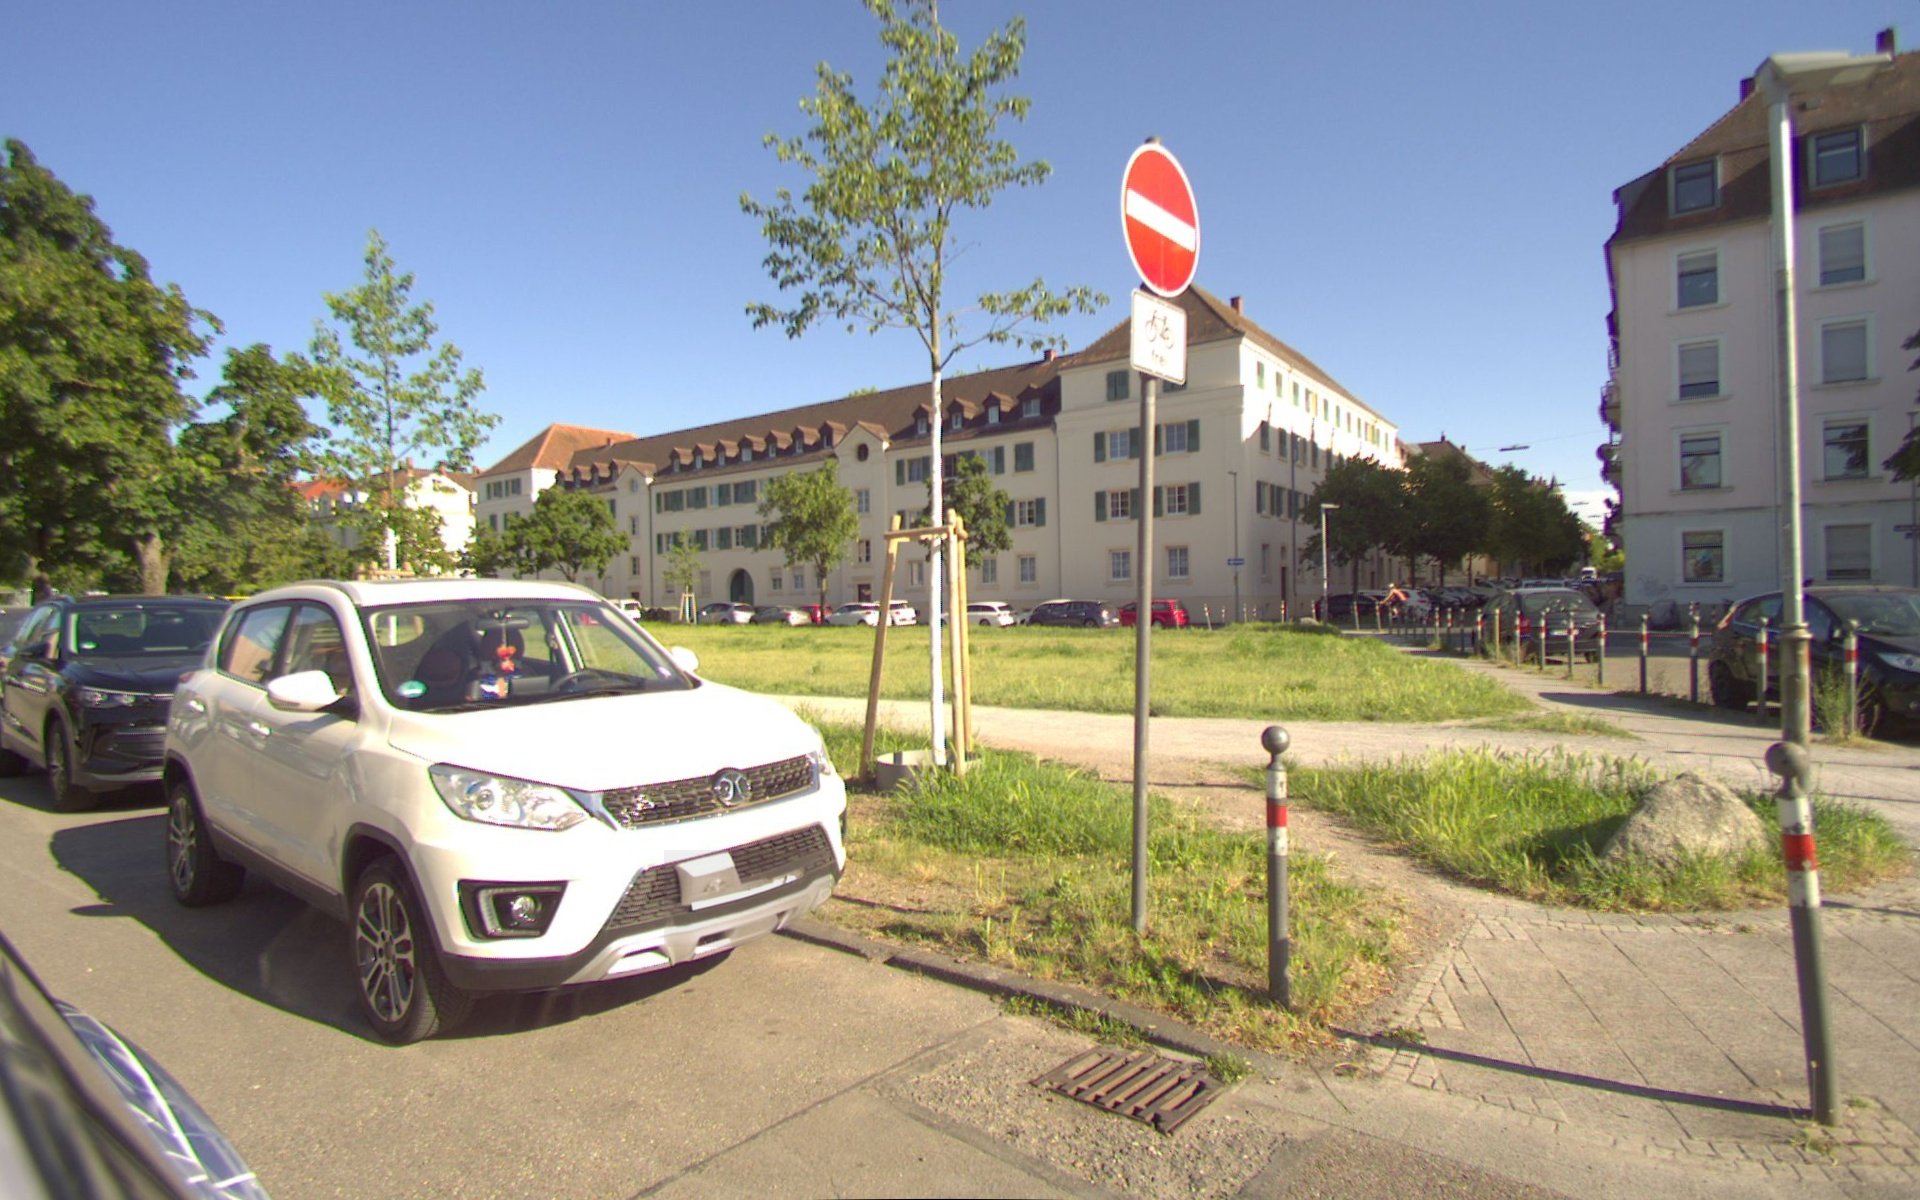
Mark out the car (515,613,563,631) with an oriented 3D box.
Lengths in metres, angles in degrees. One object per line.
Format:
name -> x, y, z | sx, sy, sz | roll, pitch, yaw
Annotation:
car -> -33.531, 1.793, 80.568 | 3.994, 1.366, 1.752 | -1, 0, 38

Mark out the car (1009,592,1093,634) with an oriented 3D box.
car -> 4.536, 0.629, 50.621 | 3.892, 2.029, 1.649 | -1, 0, 38

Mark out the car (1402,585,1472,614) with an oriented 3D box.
car -> 29.094, -0.023, 61.786 | 3.606, 1.653, 1.811 | -1, 0, 35

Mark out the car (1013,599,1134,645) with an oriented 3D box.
car -> 4.833, 0.940, 43.384 | 4.696, 1.834, 2.138 | -1, 0, 37

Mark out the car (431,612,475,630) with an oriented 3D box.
car -> -38.862, 1.630, 77.556 | 3.509, 1.343, 1.635 | -1, 0, 38

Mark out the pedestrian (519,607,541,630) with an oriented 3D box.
pedestrian -> -36.419, 1.565, 85.729 | 1.160, 1.978, 1.329 | -1, 0, 33

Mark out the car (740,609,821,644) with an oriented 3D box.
car -> -9.775, 1.436, 55.031 | 4.005, 1.763, 2.294 | -1, 0, 40

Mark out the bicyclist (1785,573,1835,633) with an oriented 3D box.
bicyclist -> 24.466, 0.088, 29.141 | 0.871, 1.703, 0.628 | -1, -1, 17

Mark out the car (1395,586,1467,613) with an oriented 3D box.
car -> 27.684, -0.034, 59.491 | 3.606, 1.532, 1.839 | -1, 0, 35

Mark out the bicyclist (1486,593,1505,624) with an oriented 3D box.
bicyclist -> 24.295, 0.385, 45.917 | 0.622, 1.374, 0.867 | -1, 0, 36

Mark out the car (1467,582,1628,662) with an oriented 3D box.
car -> 12.909, 0.462, 22.566 | 1.910, 1.588, 4.328 | -1, -1, 14

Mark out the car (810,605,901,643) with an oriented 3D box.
car -> -5.328, 1.222, 51.508 | 4.249, 1.834, 2.216 | -1, 0, 36

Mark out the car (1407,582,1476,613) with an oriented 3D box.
car -> 30.342, -0.160, 63.804 | 3.703, 1.848, 1.934 | -1, 0, 35

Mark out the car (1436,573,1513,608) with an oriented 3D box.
car -> 38.972, -0.695, 76.743 | 4.944, 2.538, 1.934 | -1, 0, 35

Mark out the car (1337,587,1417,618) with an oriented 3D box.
car -> 21.836, 0.125, 52.982 | 3.606, 1.532, 1.689 | -1, 0, 35

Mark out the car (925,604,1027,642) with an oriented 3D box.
car -> 0.809, 1.220, 53.639 | 5.152, 1.900, 2.133 | -1, 0, 38

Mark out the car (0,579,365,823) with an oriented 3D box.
car -> -7.287, 0.739, 9.070 | 4.709, 1.651, 1.825 | -1, -2, 39

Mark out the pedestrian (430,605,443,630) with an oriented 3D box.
pedestrian -> -35.882, 1.194, 69.344 | 0.674, 1.697, 0.537 | -2, -1, 43

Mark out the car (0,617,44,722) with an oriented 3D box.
car -> -16.100, 1.048, 15.820 | 4.463, 1.531, 1.856 | -1, -2, 38

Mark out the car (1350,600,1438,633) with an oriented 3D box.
car -> 21.334, 0.830, 49.806 | 3.661, 1.533, 1.692 | -1, 0, 37

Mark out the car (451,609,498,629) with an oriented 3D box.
car -> -48.802, 1.902, 101.821 | 2.041, 1.970, 3.765 | -1, 0, 40

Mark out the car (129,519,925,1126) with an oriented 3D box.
car -> -2.335, 0.659, 4.834 | 4.283, 1.660, 1.738 | -1, -2, 40

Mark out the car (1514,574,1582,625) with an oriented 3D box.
car -> 24.979, -0.025, 42.902 | 2.135, 2.029, 4.523 | -1, 0, 35

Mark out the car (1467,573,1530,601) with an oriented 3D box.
car -> 49.665, -1.154, 93.440 | 4.944, 2.413, 1.934 | -1, 0, 35

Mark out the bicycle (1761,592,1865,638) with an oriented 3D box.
bicycle -> 24.510, 0.436, 29.127 | 2.136, 1.268, 0.710 | -1, 0, 17

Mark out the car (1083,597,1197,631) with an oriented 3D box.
car -> 8.401, 0.660, 47.493 | 4.951, 1.496, 1.975 | -1, -1, 38

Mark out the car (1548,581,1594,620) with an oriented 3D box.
car -> 33.700, 0.008, 55.719 | 1.994, 1.988, 4.997 | -1, 0, 33

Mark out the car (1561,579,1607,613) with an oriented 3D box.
car -> 38.819, -0.268, 62.929 | 2.149, 1.998, 4.852 | -1, 0, 35

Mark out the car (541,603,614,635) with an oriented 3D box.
car -> -25.573, 1.259, 67.614 | 5.251, 1.999, 2.199 | -1, 0, 38

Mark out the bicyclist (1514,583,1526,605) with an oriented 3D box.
bicyclist -> 34.713, -0.367, 62.721 | 0.532, 1.374, 0.776 | -1, 0, 35

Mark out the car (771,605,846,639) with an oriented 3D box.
car -> -9.217, 1.339, 61.613 | 4.160, 1.919, 2.243 | -1, 0, 37

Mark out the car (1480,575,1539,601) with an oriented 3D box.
car -> 54.108, -1.137, 99.669 | 4.944, 2.413, 1.934 | -1, 0, 35

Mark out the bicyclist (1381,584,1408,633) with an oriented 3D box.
bicyclist -> 16.532, 0.329, 38.509 | 0.800, 1.816, 0.666 | -1, 0, 38

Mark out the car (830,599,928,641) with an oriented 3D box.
car -> -4.704, 1.148, 58.229 | 5.248, 2.233, 2.508 | -1, 0, 37

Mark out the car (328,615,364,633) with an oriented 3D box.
car -> -62.895, 2.454, 103.675 | 3.996, 1.807, 1.930 | -1, 0, 40

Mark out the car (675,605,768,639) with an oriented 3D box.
car -> -13.733, 1.258, 58.180 | 5.449, 1.834, 2.426 | -1, 0, 40

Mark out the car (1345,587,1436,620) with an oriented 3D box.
car -> 23.243, 0.206, 54.701 | 4.234, 1.714, 1.686 | -1, 0, 36

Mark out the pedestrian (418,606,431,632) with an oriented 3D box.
pedestrian -> -36.400, 1.290, 68.791 | 0.749, 1.697, 0.538 | -1, -1, 40

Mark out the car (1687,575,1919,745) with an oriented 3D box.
car -> 9.714, 0.488, 10.553 | 1.902, 1.420, 4.329 | -3, -1, 14

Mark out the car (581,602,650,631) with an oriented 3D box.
car -> -25.241, 1.227, 74.103 | 5.247, 1.999, 2.201 | -1, 0, 36

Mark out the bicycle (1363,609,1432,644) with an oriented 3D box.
bicycle -> 16.618, 0.985, 38.441 | 2.254, 1.272, 0.834 | -1, 0, 38

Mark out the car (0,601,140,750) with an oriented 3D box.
car -> -12.125, 0.866, 12.753 | 4.733, 1.622, 1.802 | -1, -2, 39

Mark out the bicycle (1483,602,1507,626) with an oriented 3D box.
bicycle -> 24.281, 0.637, 45.930 | 0.657, 1.024, 1.958 | -1, 0, 36

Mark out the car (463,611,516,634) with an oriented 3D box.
car -> -34.569, 1.645, 74.375 | 4.229, 1.595, 1.772 | -1, 0, 38
